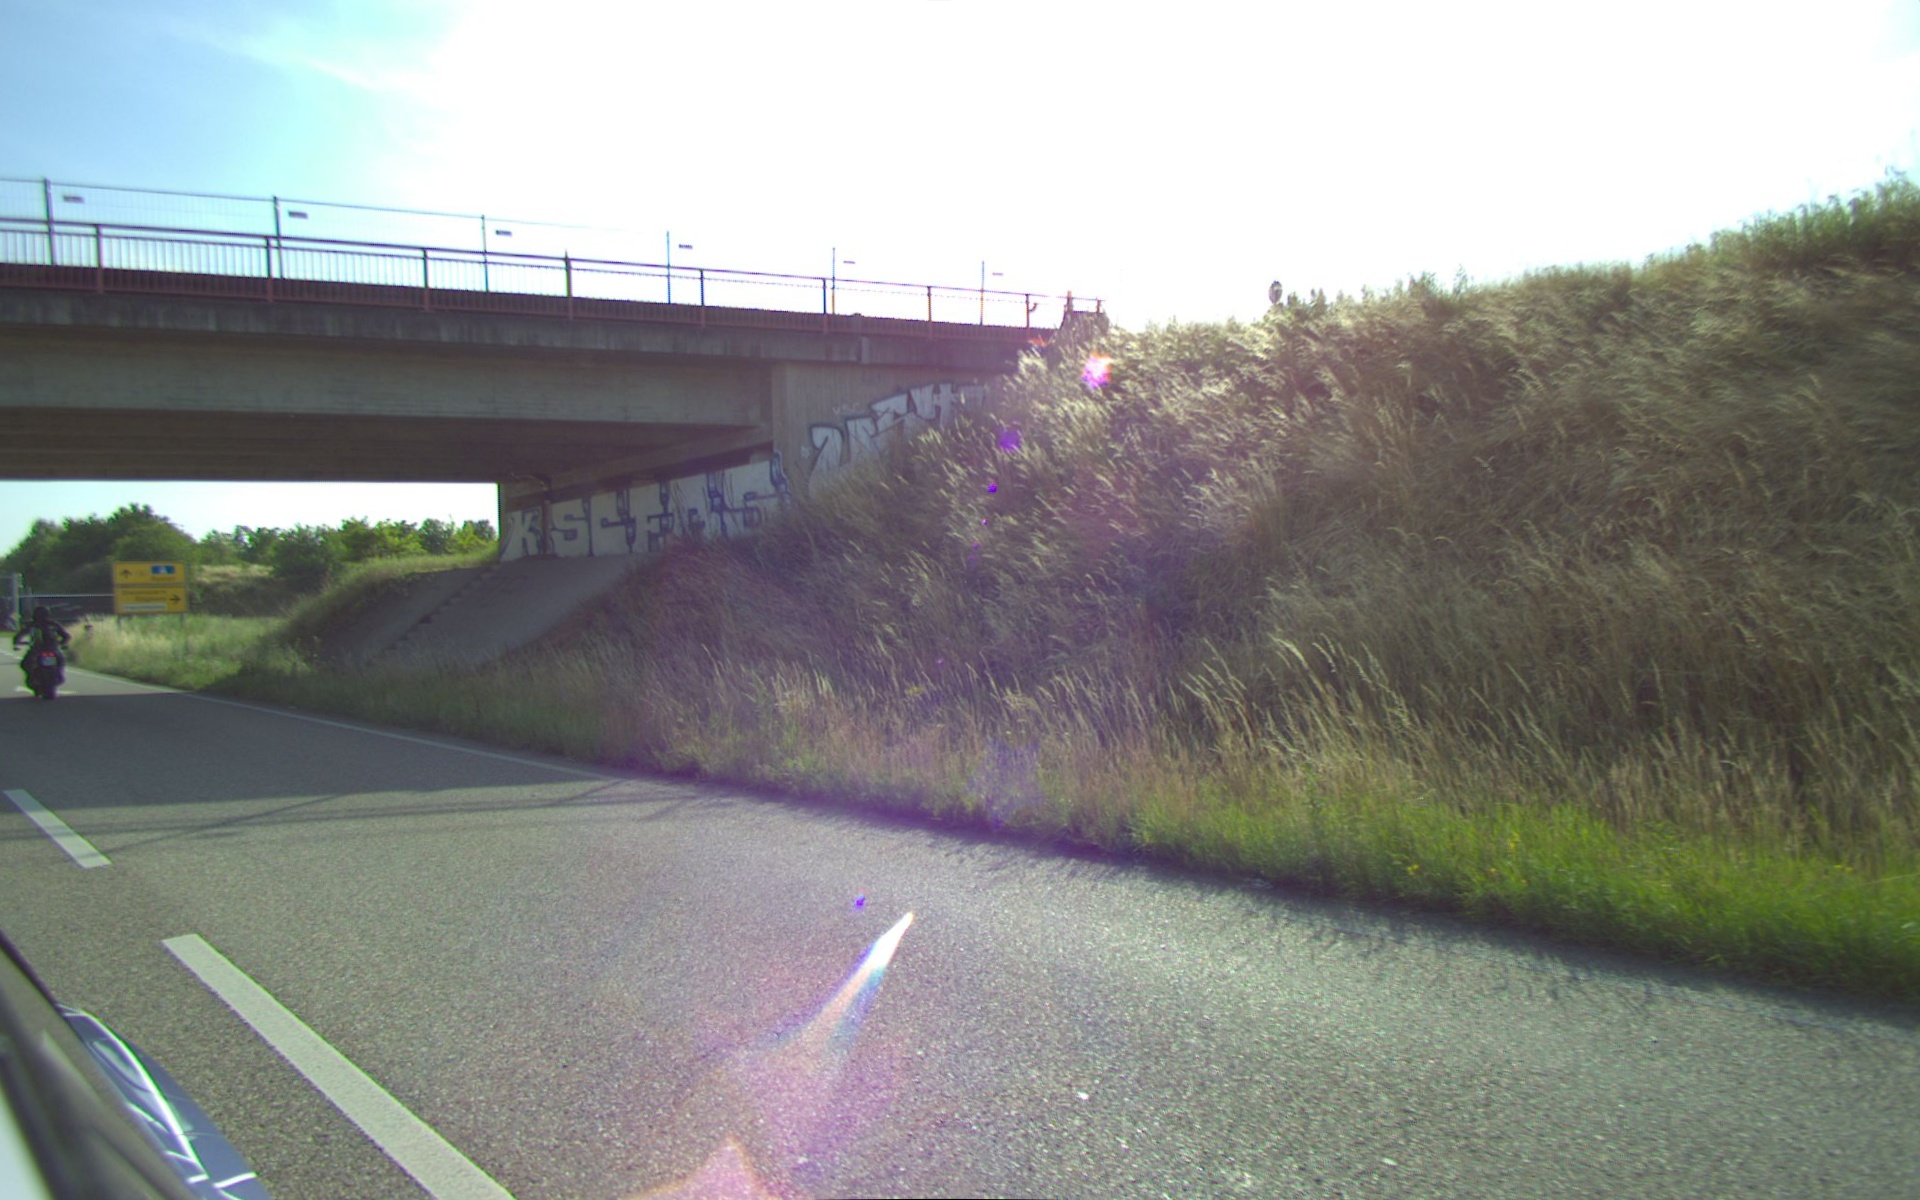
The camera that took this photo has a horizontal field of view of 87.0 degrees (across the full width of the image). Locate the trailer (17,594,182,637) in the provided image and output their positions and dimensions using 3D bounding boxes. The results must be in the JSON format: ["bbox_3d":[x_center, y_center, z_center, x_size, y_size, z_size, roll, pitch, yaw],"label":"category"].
[{"bbox_3d":[-94.903,1.667,112.150,13.571,4.144,3.568,-2,1,-35],"label":"trailer"}]

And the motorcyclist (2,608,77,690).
[{"bbox_3d":[-17.155,0.890,18.864,1.283,1.462,0.870,-1,-1,40],"label":"motorcyclist"}]

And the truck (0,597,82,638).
[{"bbox_3d":[-99.996,1.871,108.650,8.262,4.144,3.568,-2,1,-35],"label":"truck"}]

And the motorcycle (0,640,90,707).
[{"bbox_3d":[-17.103,1.332,18.854,2.130,1.126,1.031,-1,-1,40],"label":"motorcycle"}]
